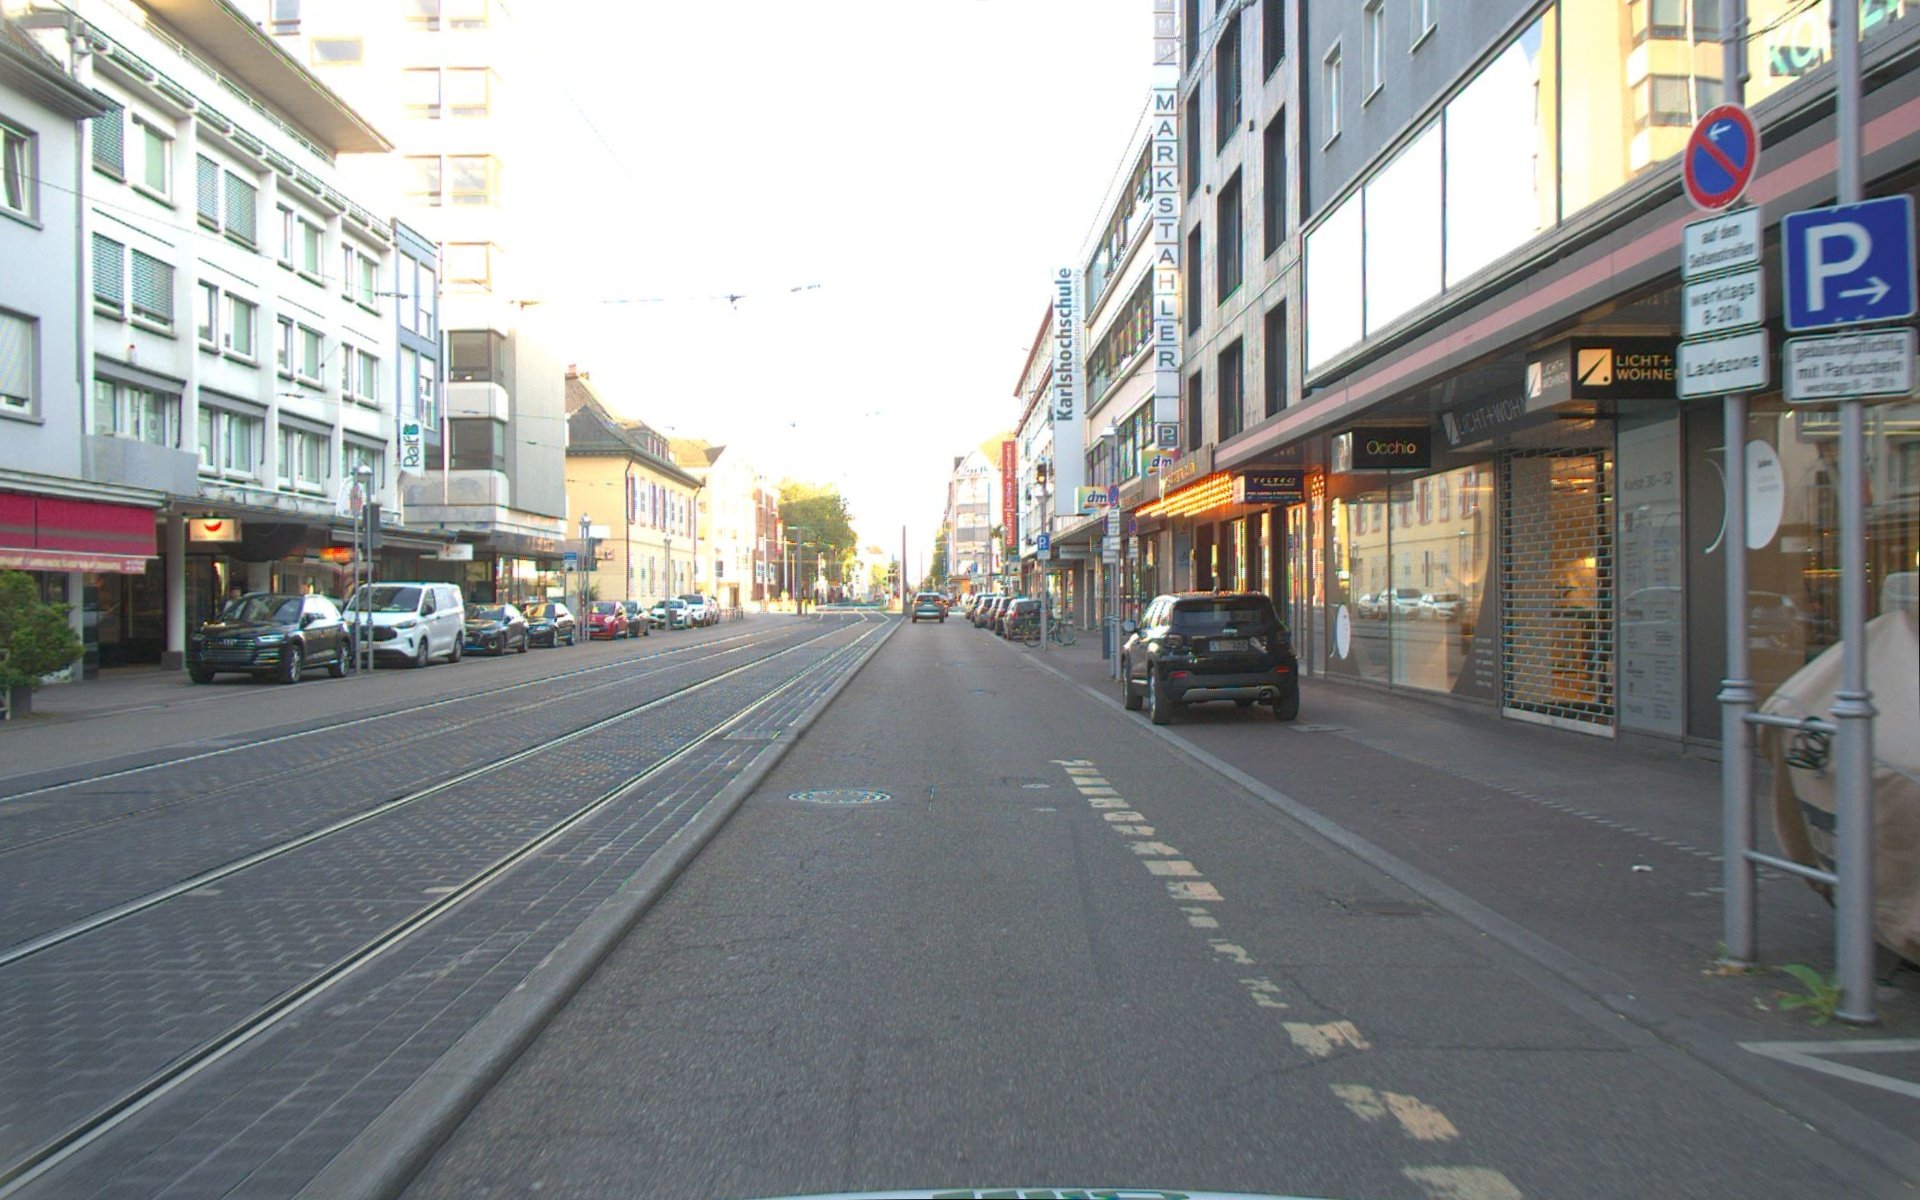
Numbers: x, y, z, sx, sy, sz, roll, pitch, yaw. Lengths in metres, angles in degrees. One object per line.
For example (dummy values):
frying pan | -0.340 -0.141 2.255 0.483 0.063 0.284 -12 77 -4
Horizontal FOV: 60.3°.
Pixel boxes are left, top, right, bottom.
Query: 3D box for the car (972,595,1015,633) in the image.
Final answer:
car | 1.615 0.646 80.801 1.904 1.733 4.544 -3 0 0

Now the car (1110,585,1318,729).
car | 3.128 0.644 21.319 1.904 1.572 4.544 -3 0 0

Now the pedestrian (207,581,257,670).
pedestrian | -15.559 0.531 35.373 0.635 1.852 0.837 2 0 -1

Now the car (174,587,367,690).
car | -13.262 0.703 32.129 1.878 1.794 4.429 2 0 -1

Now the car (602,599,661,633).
car | -13.771 0.650 69.520 1.755 1.362 3.890 2 0 -2

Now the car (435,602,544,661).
car | -13.406 0.860 47.362 1.879 1.547 4.628 2 0 -2

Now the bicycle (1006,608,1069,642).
bicycle | 2.599 0.847 55.605 2.077 1.109 0.591 -1 0 -4

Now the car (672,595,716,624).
car | -14.210 0.487 88.540 1.755 1.475 3.890 2 0 -2

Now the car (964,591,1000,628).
car | 1.237 0.530 95.740 1.904 1.999 4.544 -2 0 0

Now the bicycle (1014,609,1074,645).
bicycle | 2.628 0.846 51.853 1.831 1.109 0.545 -1 0 -2

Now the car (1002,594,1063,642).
car | 2.543 0.612 59.198 1.904 1.572 4.544 -3 0 0

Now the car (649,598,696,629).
car | -14.322 0.671 82.510 1.755 1.475 3.890 2 0 -2

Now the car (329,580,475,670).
car | -13.352 0.574 39.871 1.878 1.969 4.841 2 0 -1

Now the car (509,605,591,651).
car | -13.245 0.890 53.662 1.755 1.362 3.890 2 0 -2

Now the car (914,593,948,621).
car | -1.634 0.363 95.476 1.904 1.572 4.544 0 0 0

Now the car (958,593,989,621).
car | 0.843 0.431 107.431 1.904 1.733 4.544 -3 0 0

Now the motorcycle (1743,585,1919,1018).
motorcycle | 3.698 0.679 6.138 0.795 1.441 2.006 -2 0 7

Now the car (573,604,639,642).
car | -13.637 0.851 63.910 1.755 1.362 3.890 2 0 -2

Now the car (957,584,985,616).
car | 0.793 -0.019 119.280 1.904 2.183 4.544 -2 0 0

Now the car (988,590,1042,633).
car | 2.129 0.429 65.319 1.904 1.572 4.544 -3 0 0
